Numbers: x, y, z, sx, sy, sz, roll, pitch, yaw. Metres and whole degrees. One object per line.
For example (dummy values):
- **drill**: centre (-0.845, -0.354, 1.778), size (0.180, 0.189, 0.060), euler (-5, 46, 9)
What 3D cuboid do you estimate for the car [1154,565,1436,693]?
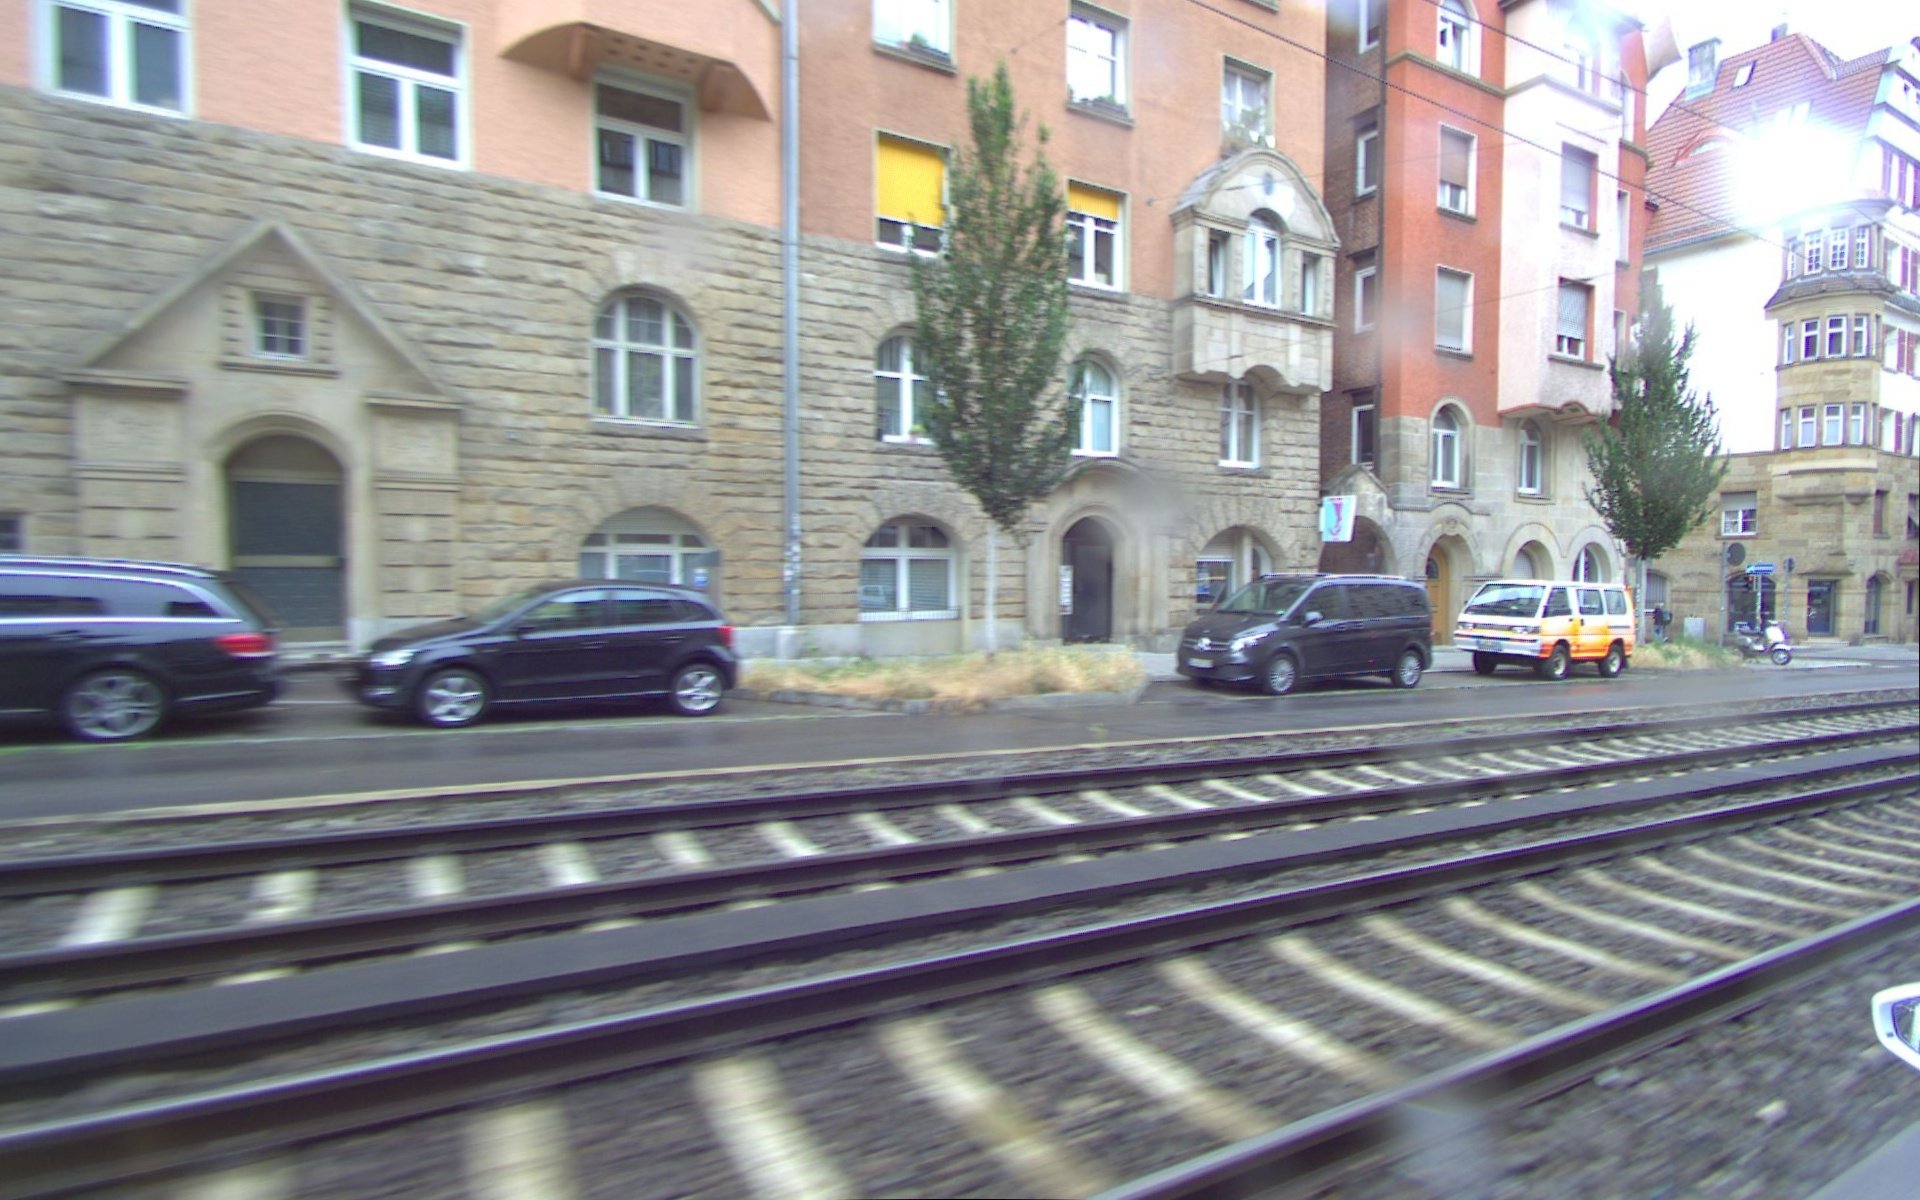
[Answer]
- **car**: centre (5.754, 0.466, 17.140), size (4.643, 1.927, 1.984), euler (1, 0, -30)

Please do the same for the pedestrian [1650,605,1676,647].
- **pedestrian**: centre (30.056, 1.106, 42.947), size (0.635, 1.756, 0.604), euler (1, 1, -29)

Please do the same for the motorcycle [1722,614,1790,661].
- **motorcycle**: centre (21.083, 0.984, 26.638), size (0.608, 1.149, 1.441), euler (2, 1, -1)

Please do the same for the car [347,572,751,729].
- **car**: centre (-4.423, 0.481, 10.976), size (3.843, 1.417, 1.632), euler (1, 1, -34)

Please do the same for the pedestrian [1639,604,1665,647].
- **pedestrian**: centre (29.344, 1.079, 42.600), size (0.635, 1.756, 0.604), euler (1, 1, -29)

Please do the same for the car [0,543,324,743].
- **car**: centre (-8.355, 0.299, 8.533), size (4.919, 1.530, 1.982), euler (1, 3, -32)

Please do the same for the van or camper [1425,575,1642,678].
- **van or camper**: centre (12.097, 0.529, 21.111), size (4.648, 1.927, 1.982), euler (2, 1, -33)
